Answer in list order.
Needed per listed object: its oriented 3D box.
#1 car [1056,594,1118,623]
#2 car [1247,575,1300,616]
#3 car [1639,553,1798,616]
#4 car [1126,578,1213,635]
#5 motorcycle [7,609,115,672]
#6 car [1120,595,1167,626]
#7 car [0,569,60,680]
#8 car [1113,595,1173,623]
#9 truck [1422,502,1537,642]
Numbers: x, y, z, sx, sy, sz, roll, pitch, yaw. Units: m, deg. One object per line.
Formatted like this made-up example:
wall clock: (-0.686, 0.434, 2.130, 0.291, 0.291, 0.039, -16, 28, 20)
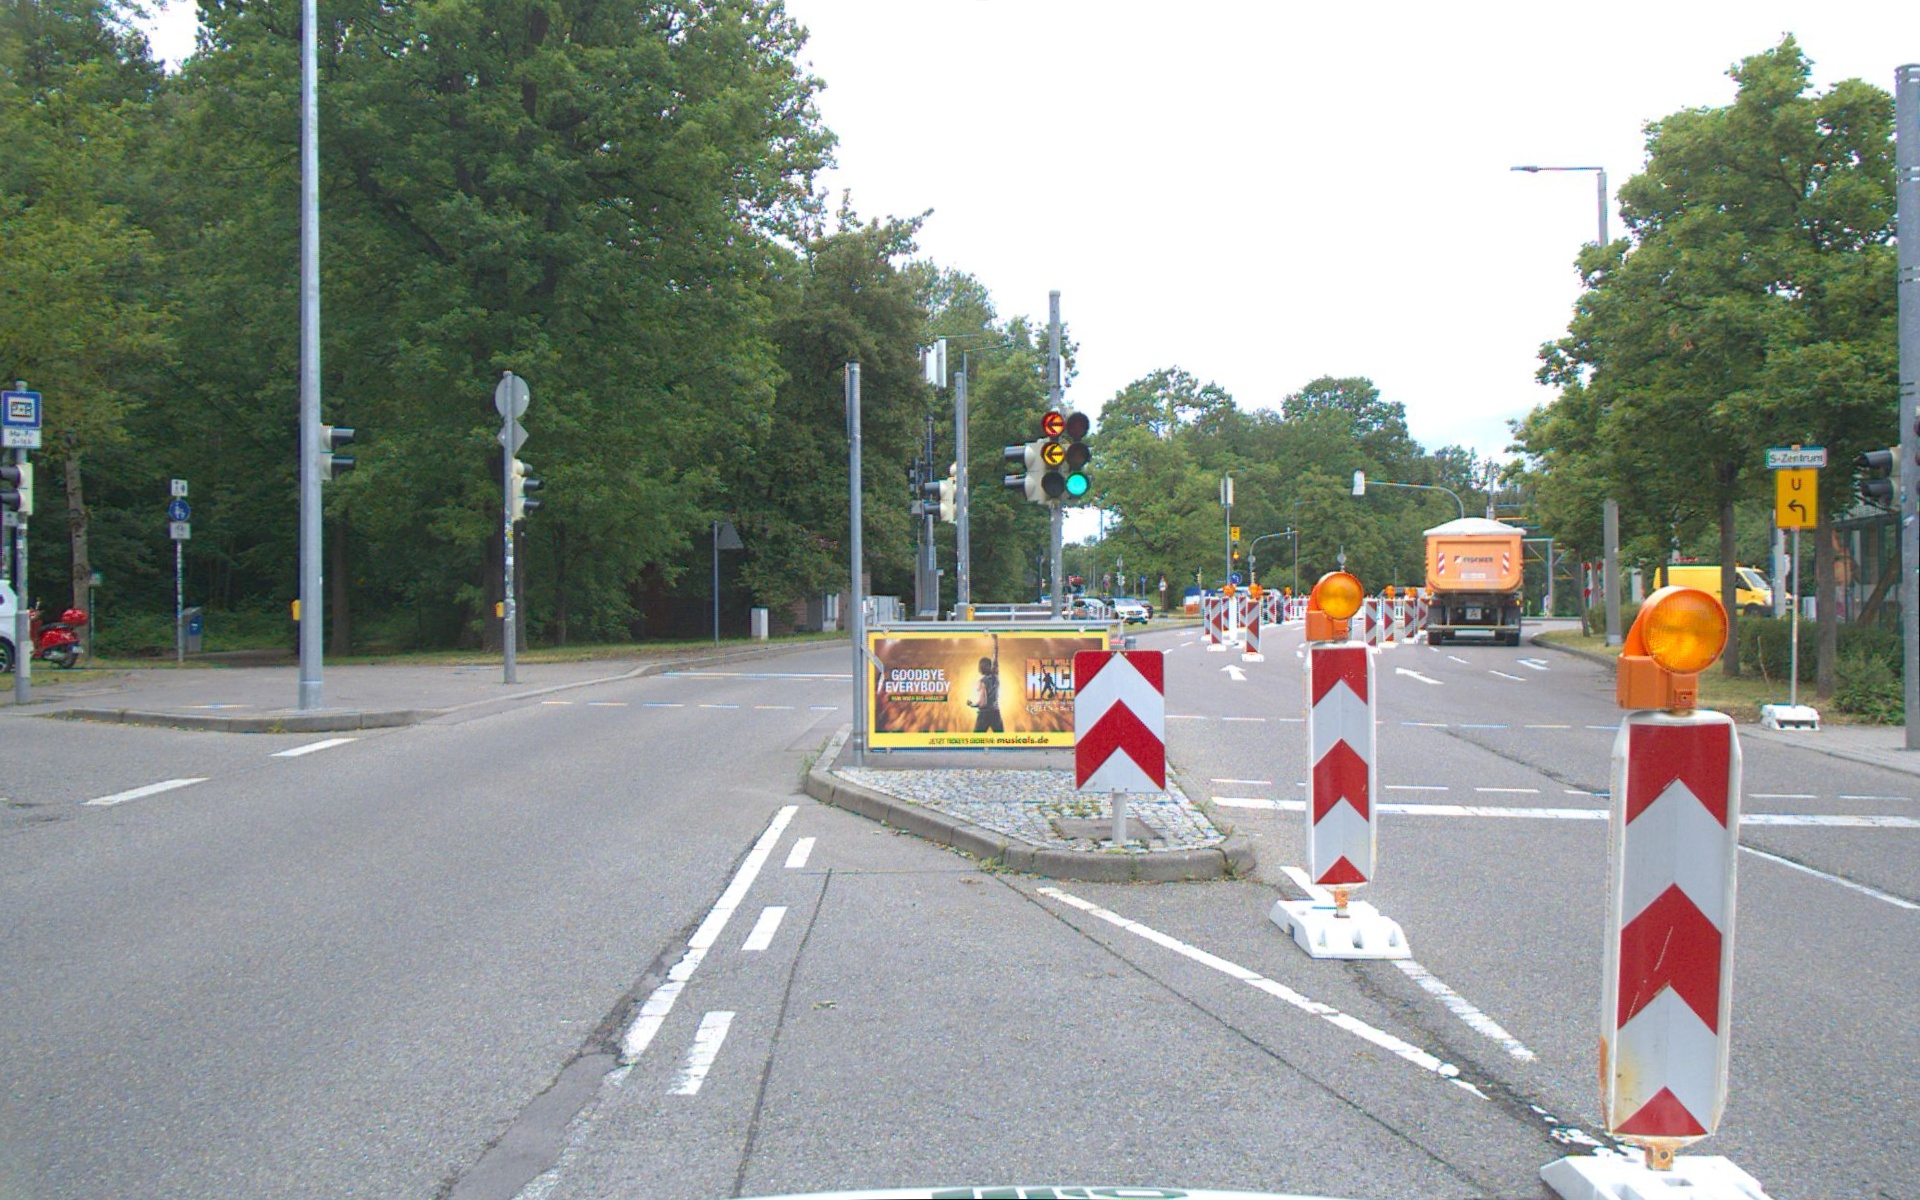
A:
car: (8.633, 0.547, 112.683, 1.984, 1.915, 3.937, 1, 0, -43)
car: (13.970, -0.172, 73.603, 1.759, 1.769, 3.703, 1, 0, 20)
car: (32.090, -0.642, 70.185, 1.975, 2.537, 6.079, 1, 0, -33)
car: (6.837, 0.210, 53.591, 1.952, 1.747, 4.001, 1, 0, 20)
motorcycle: (-17.434, 0.781, 32.086, 1.963, 1.181, 0.677, -1, 0, 18)
car: (10.954, 0.649, 98.345, 1.951, 1.780, 4.581, 1, 0, 17)
car: (-16.502, 0.445, 25.112, 2.118, 1.722, 4.527, -2, 0, 30)
car: (12.970, 0.642, 117.486, 1.984, 1.915, 3.937, 1, 0, -43)
truck: (14.813, -0.776, 46.783, 2.799, 3.576, 8.251, -1, 1, 19)
